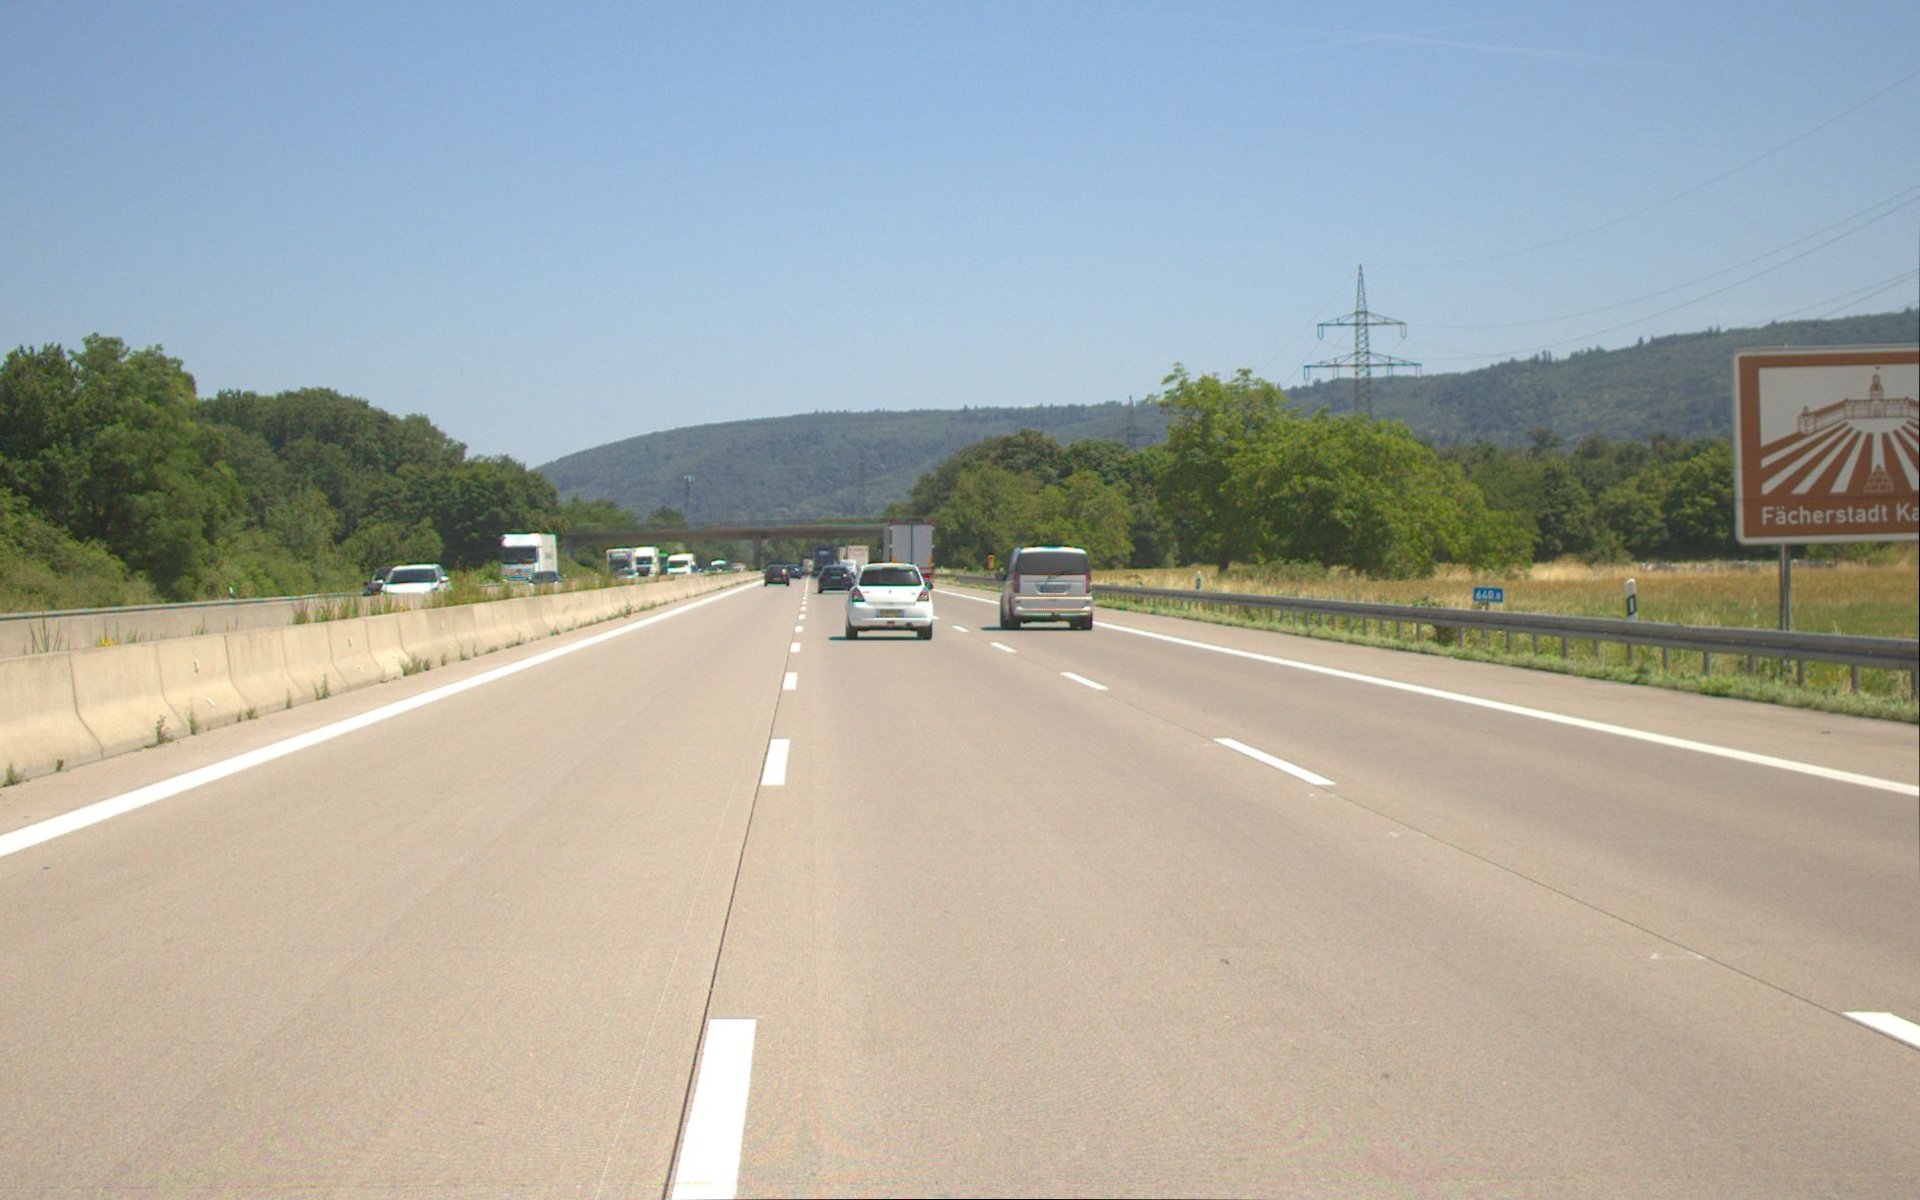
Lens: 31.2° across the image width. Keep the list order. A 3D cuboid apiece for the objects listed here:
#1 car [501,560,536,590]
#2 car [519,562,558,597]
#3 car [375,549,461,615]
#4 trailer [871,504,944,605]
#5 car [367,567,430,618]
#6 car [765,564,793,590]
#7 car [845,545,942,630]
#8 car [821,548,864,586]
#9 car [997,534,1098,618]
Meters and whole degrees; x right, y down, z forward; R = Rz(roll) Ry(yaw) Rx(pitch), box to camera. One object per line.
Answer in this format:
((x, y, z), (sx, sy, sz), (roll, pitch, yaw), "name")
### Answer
((-29.032, -1.675, 226.339), (1.993, 1.842, 4.001), (2, 1, -4), "car")
((-24.215, -1.186, 197.598), (1.993, 1.842, 4.001), (2, 1, -4), "car")
((-15.599, -0.548, 99.180), (1.906, 1.853, 4.000), (1, 1, -1), "car")
((-3.201, -2.742, 204.810), (3.720, 5.791, 12.163), (1, 1, -4), "trailer")
((-21.320, -0.298, 130.611), (1.993, 1.831, 4.817), (1, 1, -5), "car")
((-12.593, -1.610, 239.288), (1.928, 1.787, 4.001), (1, 1, -3), "car")
((-1.363, -0.275, 69.258), (1.819, 1.656, 4.001), (0, 1, -3), "car")
((-6.071, -1.708, 176.956), (1.993, 1.842, 4.001), (2, 1, -4), "car")
((1.993, -0.567, 79.049), (1.993, 1.842, 4.001), (1, 1, -3), "car")
